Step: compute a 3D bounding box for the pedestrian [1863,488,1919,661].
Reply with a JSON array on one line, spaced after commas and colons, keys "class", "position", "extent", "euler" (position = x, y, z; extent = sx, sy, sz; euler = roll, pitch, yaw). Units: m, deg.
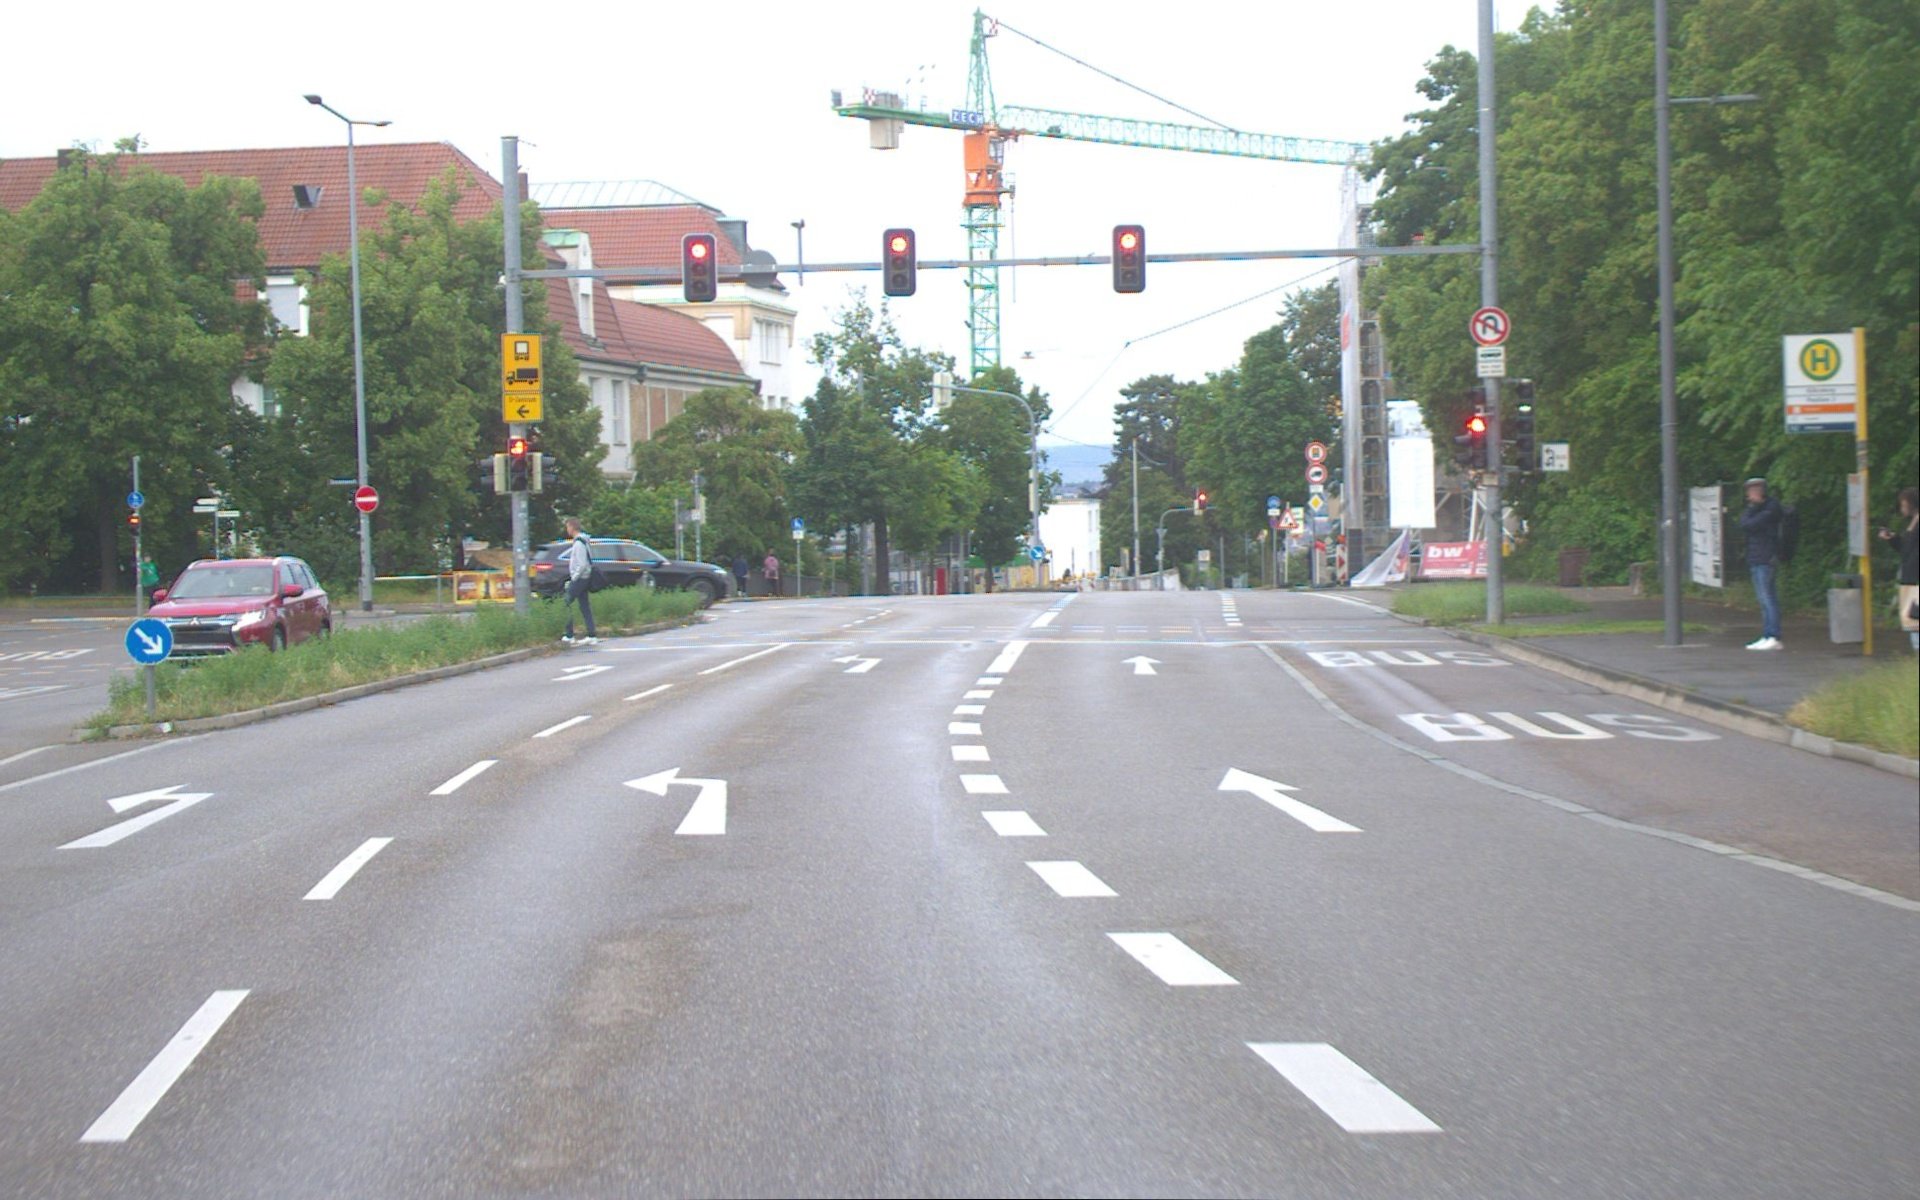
[{"class": "pedestrian", "position": [9.246, -0.258, 33.404], "extent": [0.675, 1.652, 0.793], "euler": [-2, 1, -3]}]

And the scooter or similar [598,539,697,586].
[{"class": "scooter or similar", "position": [-10.171, -1.214, 111.821], "extent": [3.088, 1.435, 0.949], "euler": [-2, 1, 1]}]

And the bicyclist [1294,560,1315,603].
[{"class": "bicyclist", "position": [12.564, -0.678, 125.535], "extent": [0.720, 1.558, 1.142], "euler": [1, 0, 4]}]

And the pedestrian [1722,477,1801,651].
[{"class": "pedestrian", "position": [8.846, -0.401, 37.969], "extent": [0.640, 1.894, 0.718], "euler": [-2, 1, -3]}]

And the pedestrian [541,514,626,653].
[{"class": "pedestrian", "position": [-5.609, -0.254, 51.273], "extent": [0.940, 2.007, 0.847], "euler": [-4, 0, 8]}]

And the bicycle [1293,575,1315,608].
[{"class": "bicycle", "position": [12.557, -0.308, 125.528], "extent": [0.720, 1.189, 1.755], "euler": [1, -1, 4]}]

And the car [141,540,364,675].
[{"class": "car", "position": [-9.829, 0.064, 48.102], "extent": [1.853, 1.677, 4.737], "euler": [-3, 1, 3]}]

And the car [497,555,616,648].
[{"class": "car", "position": [-9.078, 0.060, 77.720], "extent": [1.944, 2.014, 4.550], "euler": [1, -1, 3]}]
